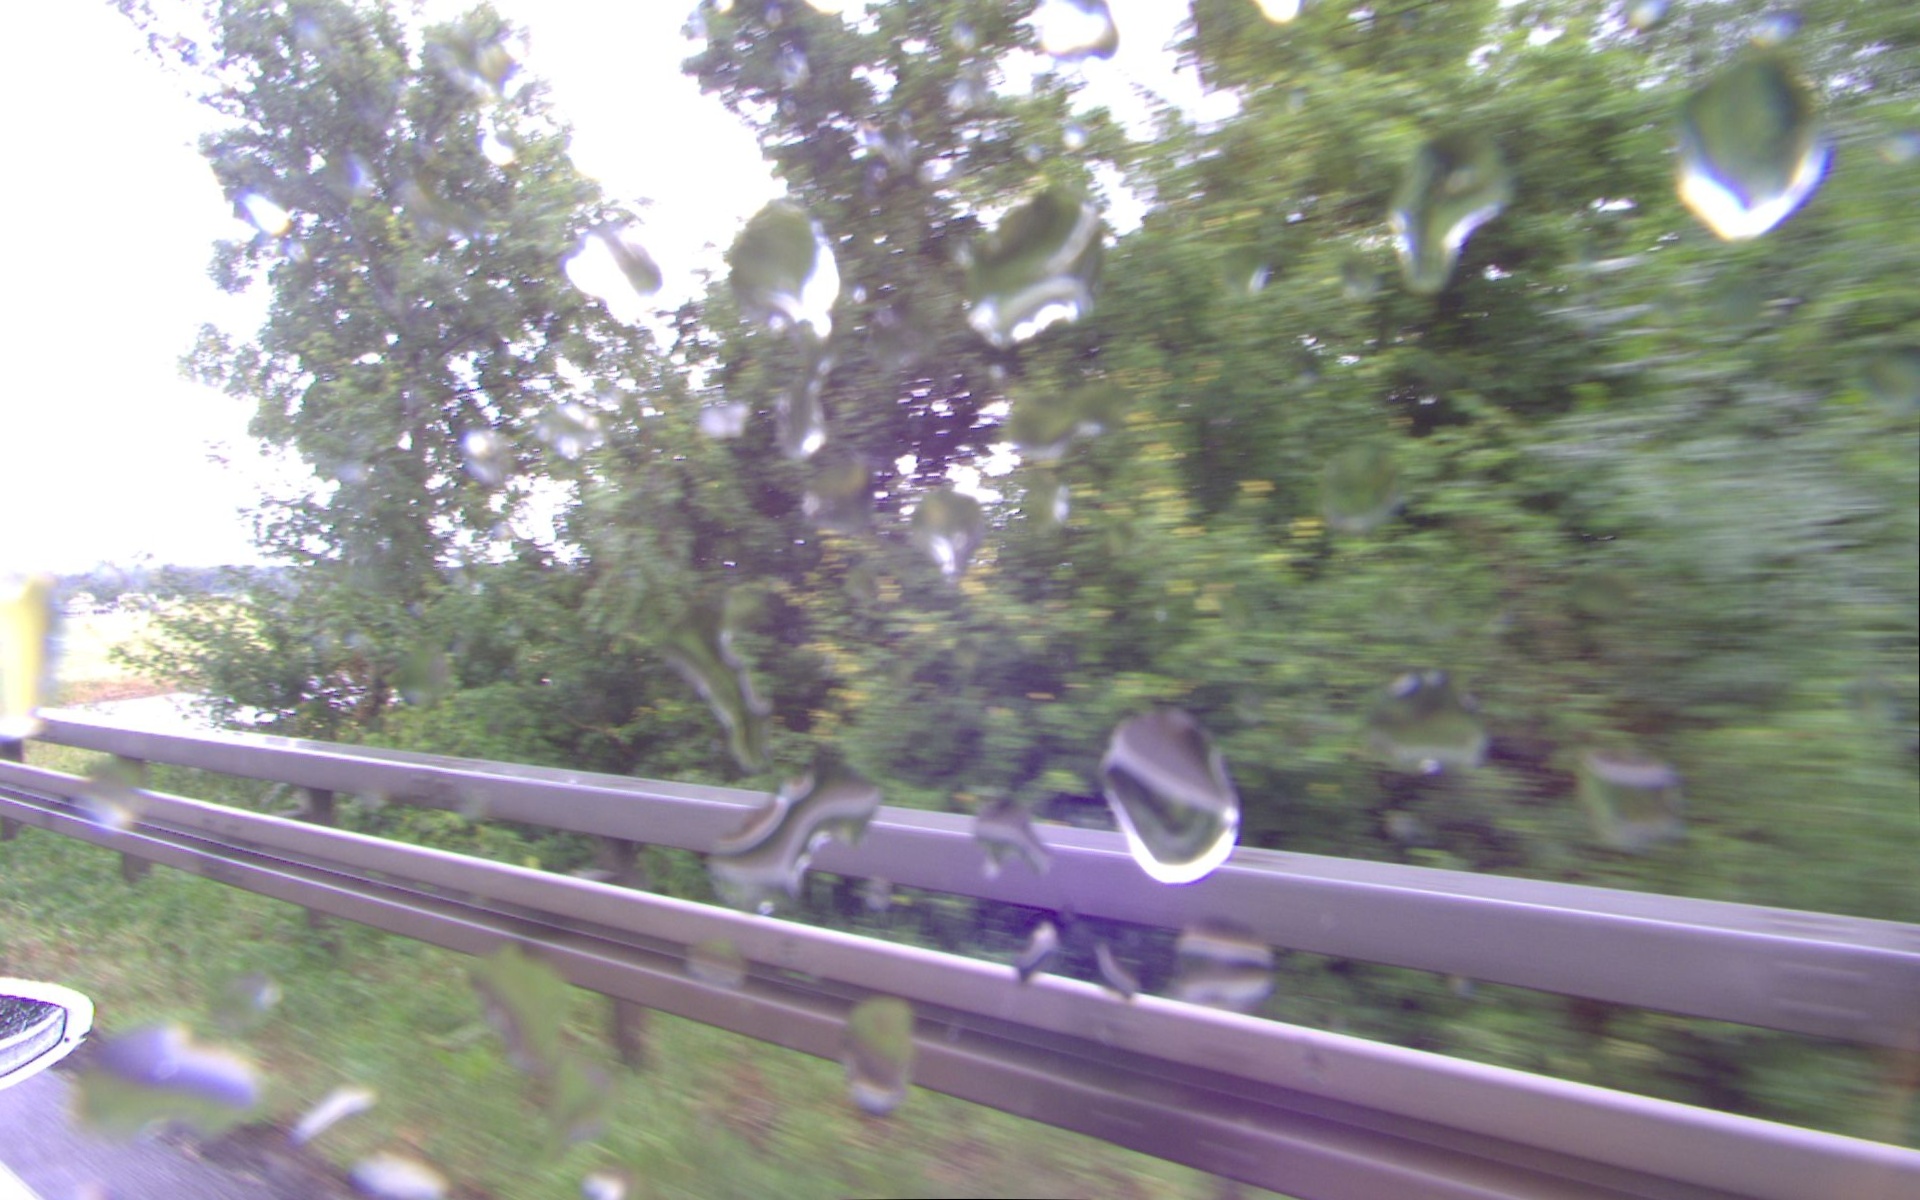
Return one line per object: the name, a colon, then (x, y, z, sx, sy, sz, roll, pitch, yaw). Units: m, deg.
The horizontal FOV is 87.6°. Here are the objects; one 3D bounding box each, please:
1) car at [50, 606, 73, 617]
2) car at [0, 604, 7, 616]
car: (-173.577, 2.293, 193.471, 2.113, 2.039, 3.989, 0, -2, -22)
car: (-166.478, 1.770, 172.616, 1.969, 2.039, 3.985, 0, -2, -26)
